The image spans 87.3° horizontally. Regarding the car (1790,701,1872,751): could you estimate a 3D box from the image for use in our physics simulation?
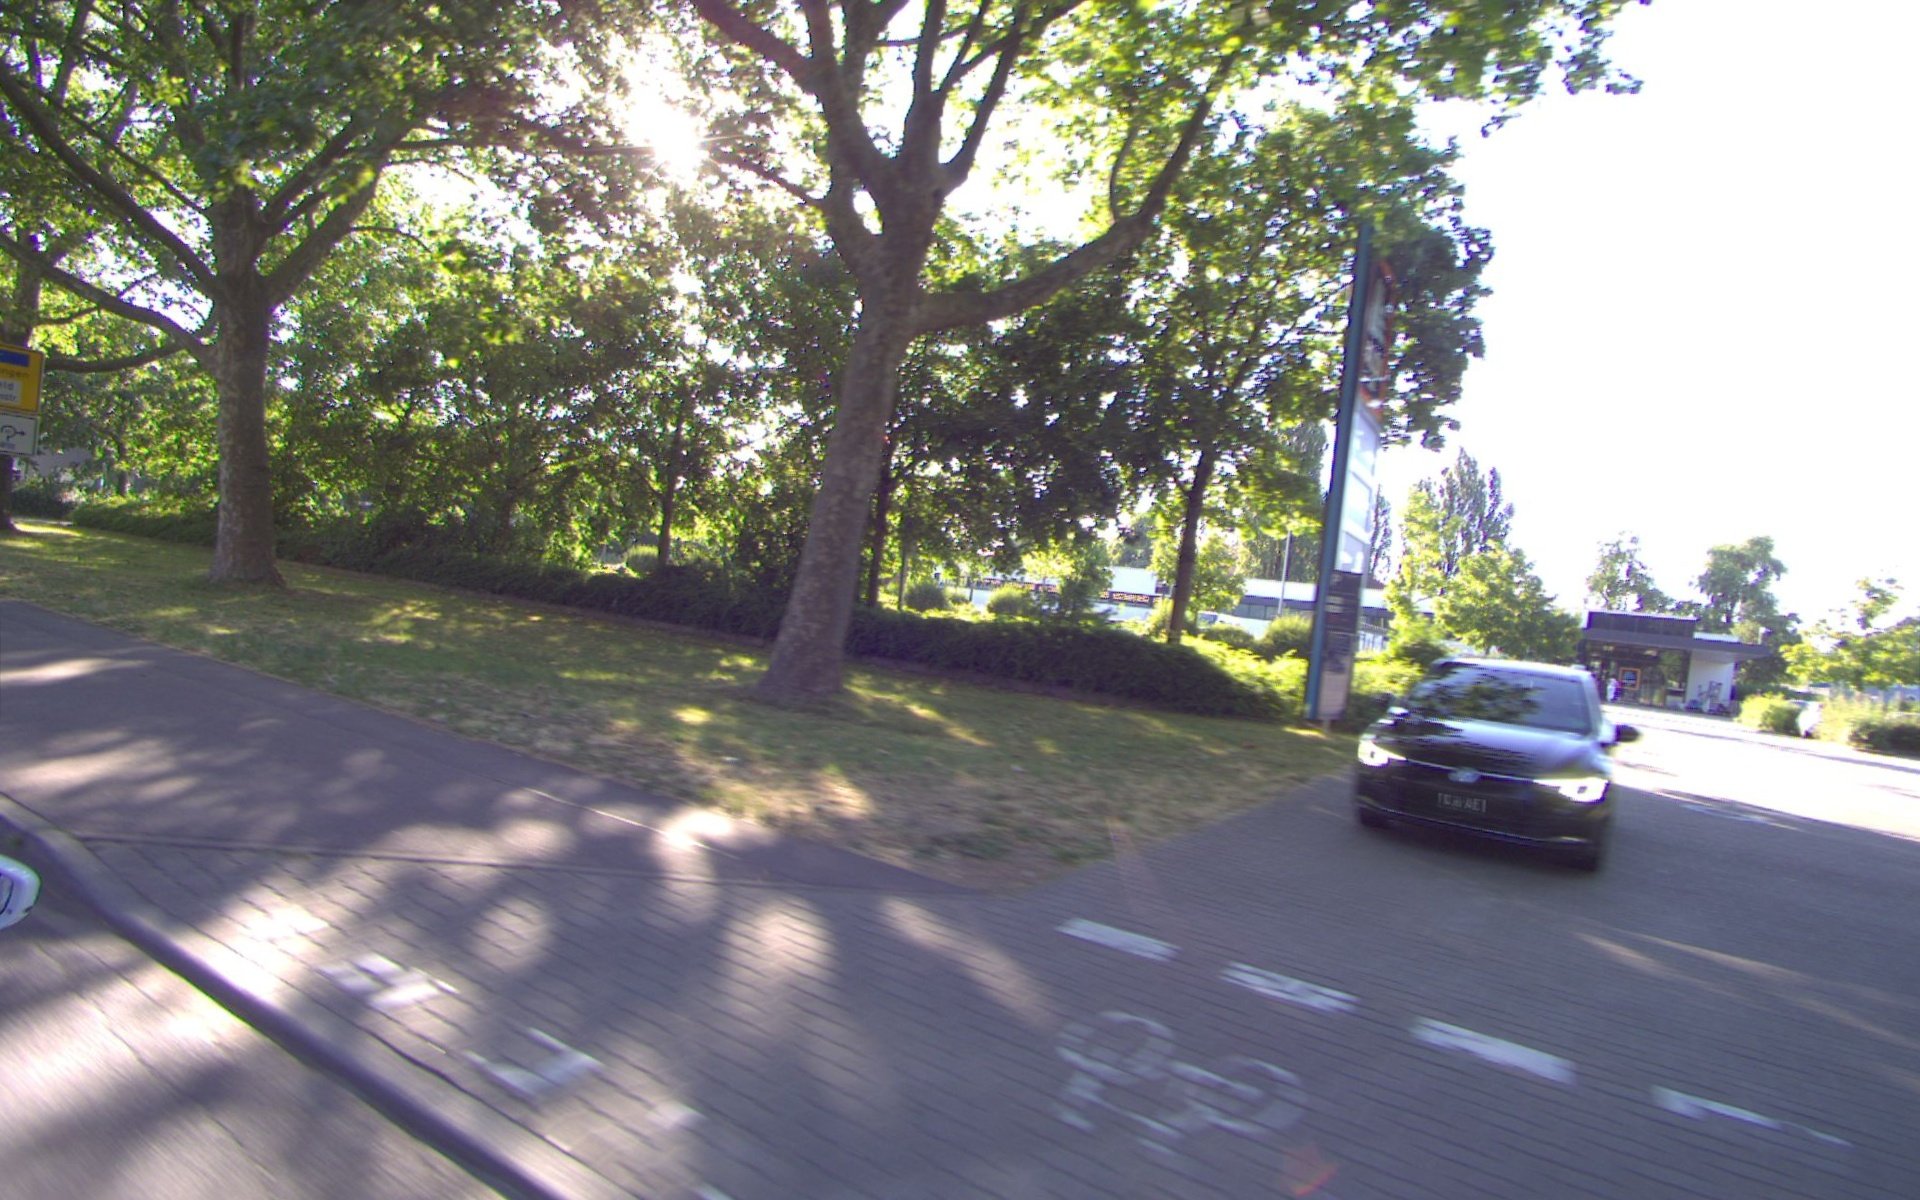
[{"bbox_3d":[34.168,4.894,39.579,1.970,1.571,4.574,7,-1,37],"label":"car"}]

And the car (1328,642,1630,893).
[{"bbox_3d":[4.687,1.249,8.756,1.733,1.461,3.987,7,0,35],"label":"car"}]

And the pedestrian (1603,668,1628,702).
[{"bbox_3d":[37.221,4.851,57.130,1.027,1.758,0.938,7,-1,34],"label":"pedestrian"}]
